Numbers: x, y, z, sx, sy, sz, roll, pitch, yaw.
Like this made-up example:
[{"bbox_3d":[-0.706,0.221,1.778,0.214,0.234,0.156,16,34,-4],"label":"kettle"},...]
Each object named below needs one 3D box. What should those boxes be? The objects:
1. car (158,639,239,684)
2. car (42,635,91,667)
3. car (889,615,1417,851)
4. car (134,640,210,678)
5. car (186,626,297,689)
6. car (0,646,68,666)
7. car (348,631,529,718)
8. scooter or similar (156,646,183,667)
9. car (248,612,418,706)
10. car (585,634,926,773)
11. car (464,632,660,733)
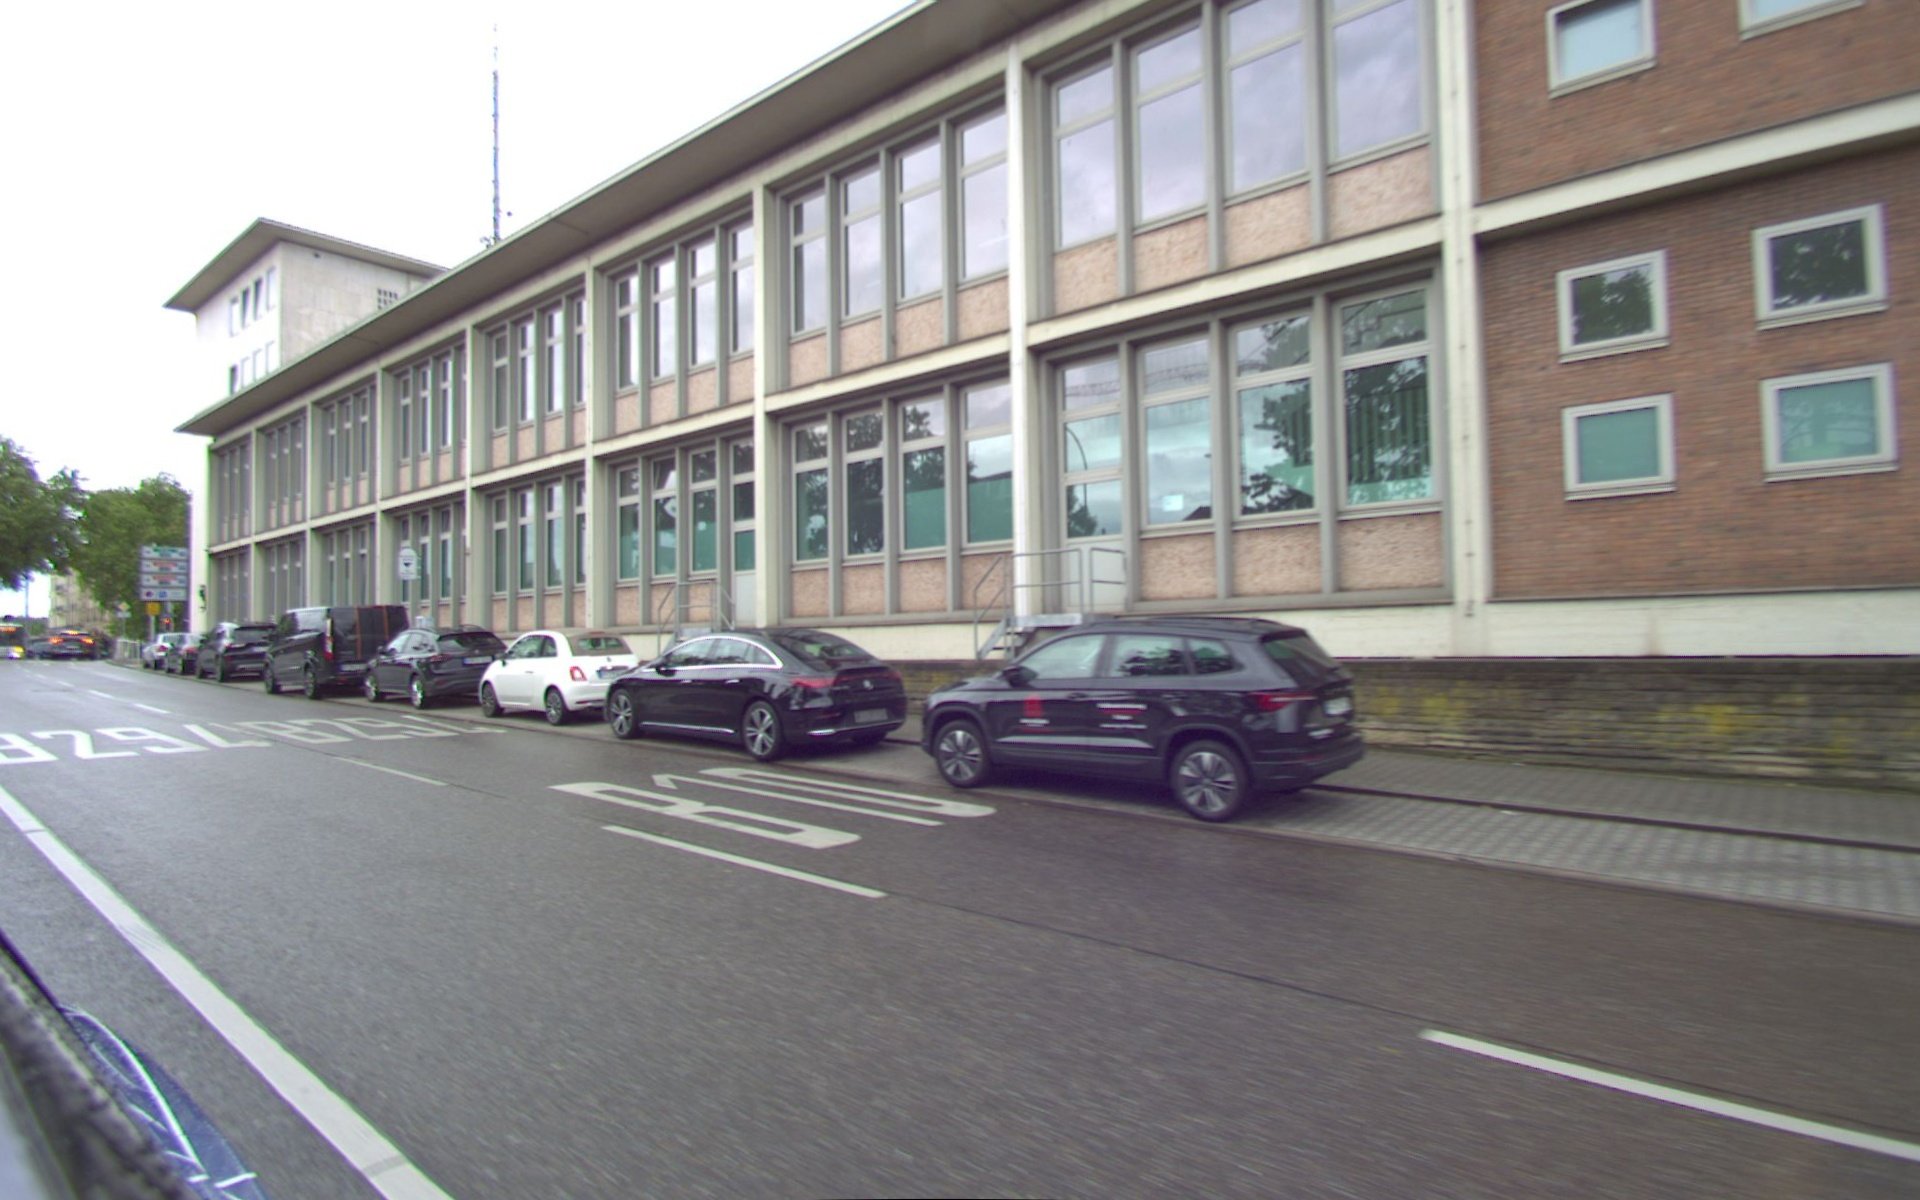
[{"bbox_3d":[-24.967,1.983,33.132,4.111,1.364,1.525,-3,-3,45],"label":"car"},{"bbox_3d":[-48.869,2.794,55.302,1.800,1.673,4.341,4,-5,-43],"label":"car"},{"bbox_3d":[1.593,0.988,9.399,4.512,1.666,1.822,-1,-1,40],"label":"car"},{"bbox_3d":[-28.866,2.122,37.027,4.094,1.307,1.672,-3,-3,45],"label":"car"},{"bbox_3d":[-20.962,1.609,29.461,4.604,1.688,1.777,-2,-3,44],"label":"car"},{"bbox_3d":[-70.376,4.229,76.333,4.346,1.420,1.824,1,-4,-6],"label":"car"},{"bbox_3d":[-10.535,1.430,20.321,4.312,1.564,1.840,-3,-4,43],"label":"car"},{"bbox_3d":[-45.436,3.244,58.174,0.599,1.201,1.532,1,-4,-13],"label":"scooter or similar"},{"bbox_3d":[-14.618,1.310,23.483,4.993,1.958,1.929,-2,-3,41],"label":"car"},{"bbox_3d":[-2.832,1.215,13.237,4.907,1.495,1.796,-2,-3,42],"label":"car"},{"bbox_3d":[-6.691,1.315,16.877,3.550,1.495,1.550,-2,-4,41],"label":"car"}]
